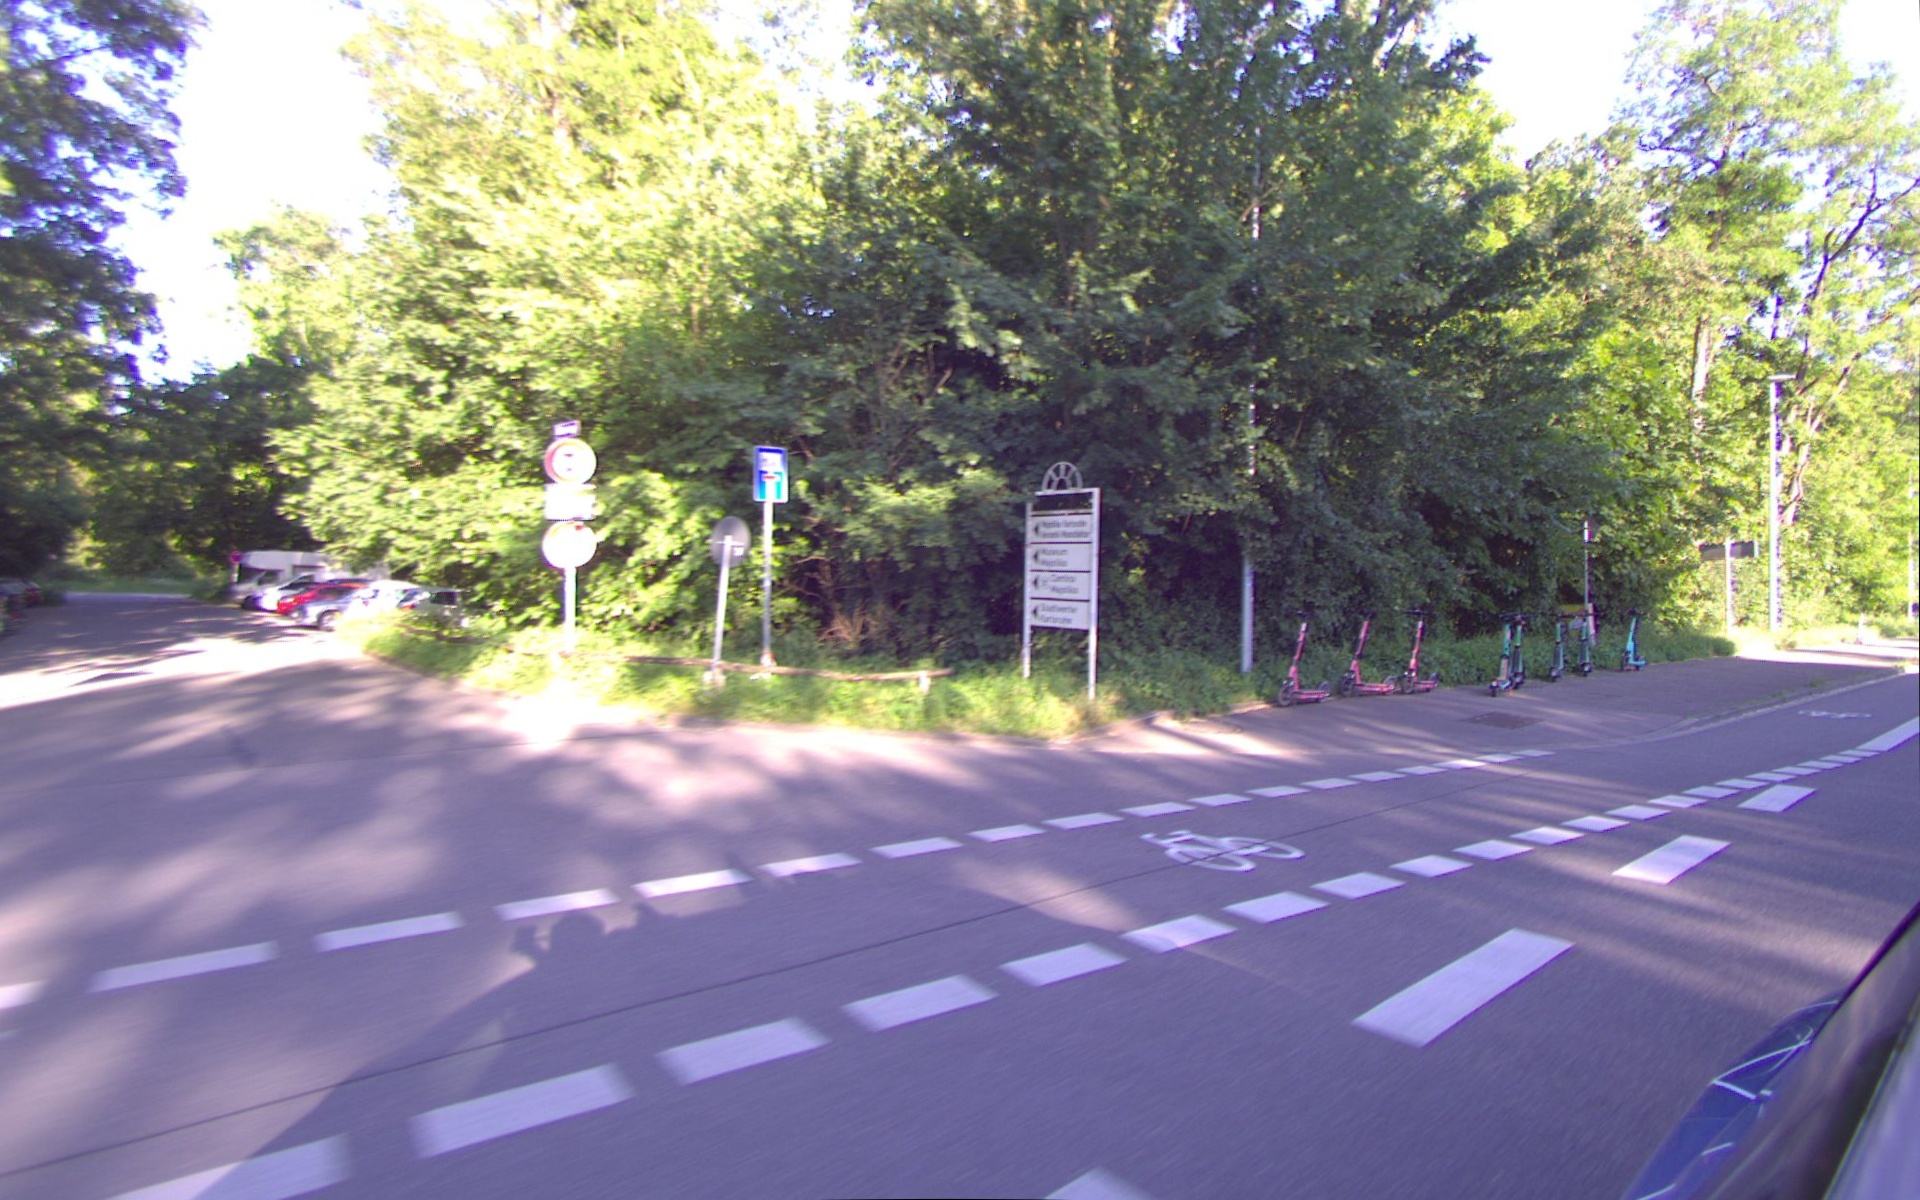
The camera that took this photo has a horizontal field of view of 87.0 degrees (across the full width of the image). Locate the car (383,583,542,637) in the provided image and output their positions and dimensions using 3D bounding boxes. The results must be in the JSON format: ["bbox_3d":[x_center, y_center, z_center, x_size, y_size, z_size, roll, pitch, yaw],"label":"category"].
[{"bbox_3d":[-13.662,0.235,27.898,3.673,1.394,1.613,-1,0,-41],"label":"car"}]

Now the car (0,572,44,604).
[{"bbox_3d":[-45.471,-0.539,47.470,3.673,1.487,1.539,-1,0,-41],"label":"car"}]

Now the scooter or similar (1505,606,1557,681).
[{"bbox_3d":[9.409,0.698,16.671,1.084,1.199,0.386,0,1,-41],"label":"scooter or similar"}]

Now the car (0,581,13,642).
[{"bbox_3d":[-23.582,0.278,22.448,3.673,1.394,1.613,-1,0,-41],"label":"car"}]

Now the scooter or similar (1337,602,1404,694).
[{"bbox_3d":[5.651,0.635,13.911,1.084,1.199,0.386,0,1,-41],"label":"scooter or similar"}]

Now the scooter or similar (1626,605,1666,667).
[{"bbox_3d":[13.624,0.701,20.096,1.084,1.199,0.386,0,1,-41],"label":"scooter or similar"}]

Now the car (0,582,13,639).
[{"bbox_3d":[-25.020,0.271,23.999,3.673,1.394,1.613,-1,0,-41],"label":"car"}]

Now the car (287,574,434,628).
[{"bbox_3d":[-18.315,-0.001,30.993,3.673,1.548,1.613,-1,0,-41],"label":"car"}]

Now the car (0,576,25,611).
[{"bbox_3d":[-39.701,-0.248,40.212,3.673,1.394,1.613,-1,0,-41],"label":"car"}]

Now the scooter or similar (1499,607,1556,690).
[{"bbox_3d":[8.574,0.709,15.279,1.084,1.199,0.386,0,1,-41],"label":"scooter or similar"}]

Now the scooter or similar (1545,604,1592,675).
[{"bbox_3d":[10.801,0.683,17.967,1.084,1.199,0.386,0,1,-41],"label":"scooter or similar"}]

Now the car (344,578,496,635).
[{"bbox_3d":[-15.683,0.153,29.472,3.673,1.548,1.613,-1,0,-41],"label":"car"}]

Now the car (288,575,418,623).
[{"bbox_3d":[-19.875,-0.052,33.213,3.467,1.472,1.502,-1,0,-41],"label":"car"}]

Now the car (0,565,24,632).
[{"bbox_3d":[-26.815,-0.020,26.216,3.673,1.763,1.613,-1,0,-41],"label":"car"}]

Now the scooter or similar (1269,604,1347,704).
[{"bbox_3d":[4.409,0.655,12.780,1.167,1.199,0.386,0,1,-41],"label":"scooter or similar"}]

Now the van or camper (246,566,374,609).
[{"bbox_3d":[-29.684,-0.557,46.306,4.746,1.883,1.787,-1,0,-41],"label":"van or camper"}]

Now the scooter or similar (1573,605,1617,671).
[{"bbox_3d":[11.971,0.698,19.078,1.084,1.199,0.386,0,1,-41],"label":"scooter or similar"}]

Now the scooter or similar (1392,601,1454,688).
[{"bbox_3d":[6.662,0.620,14.538,1.084,1.199,0.386,0,1,-41],"label":"scooter or similar"}]

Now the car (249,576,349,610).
[{"bbox_3d":[-28.507,-0.306,43.679,3.467,1.419,1.502,-1,0,-41],"label":"car"}]

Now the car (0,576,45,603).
[{"bbox_3d":[-54.726,-0.588,57.772,3.673,1.487,1.539,-1,0,-41],"label":"car"}]

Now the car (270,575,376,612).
[{"bbox_3d":[-25.988,-0.270,41.331,3.467,1.472,1.502,-1,0,-41],"label":"car"}]
